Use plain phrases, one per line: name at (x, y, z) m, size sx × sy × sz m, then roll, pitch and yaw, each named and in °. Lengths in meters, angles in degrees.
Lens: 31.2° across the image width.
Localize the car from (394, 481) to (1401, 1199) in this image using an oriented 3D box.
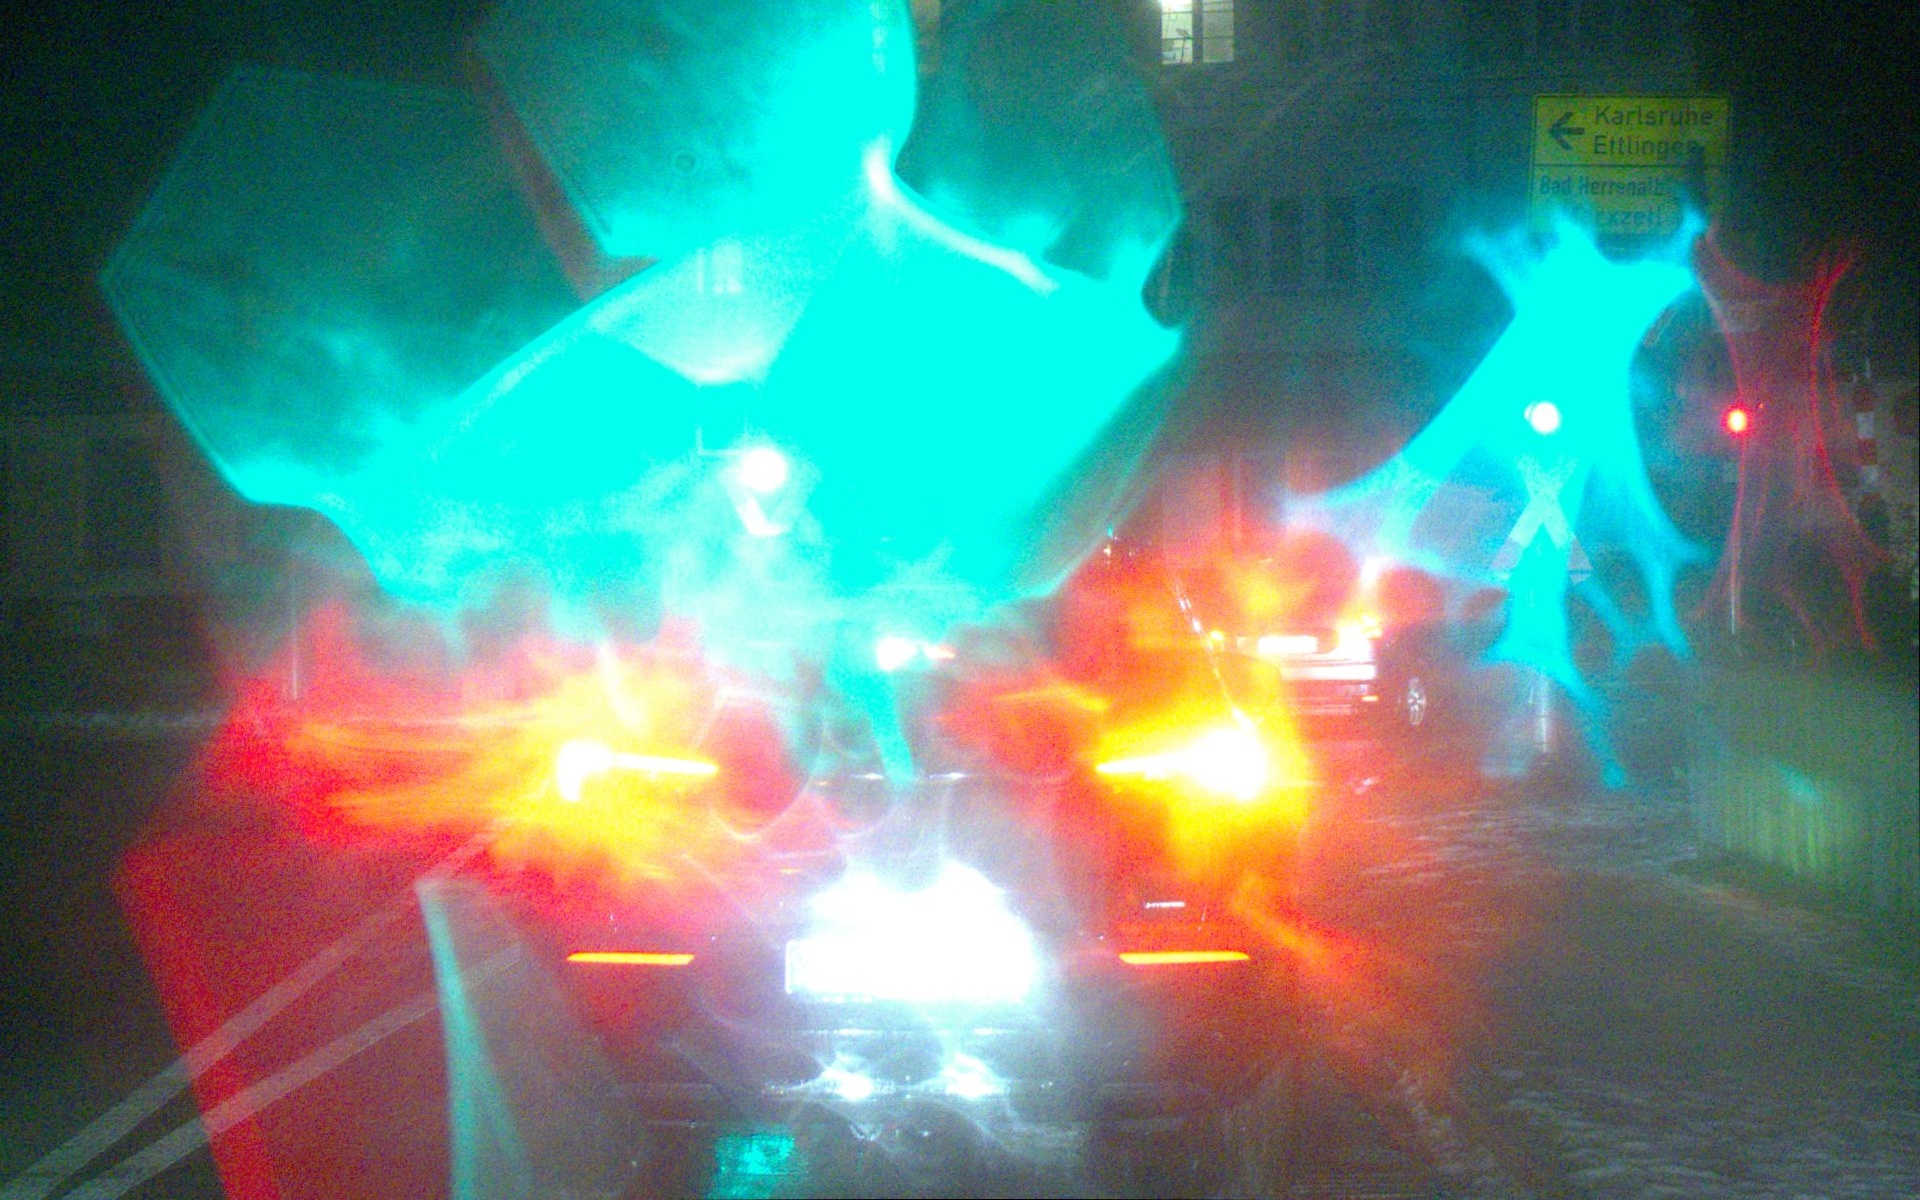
car at (-0.159, 0.596, 9.216) m, size 2.057 × 1.672 × 4.139 m, roll 1°, pitch 0°, yaw -1°

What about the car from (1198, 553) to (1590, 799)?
car at (3.986, 0.630, 30.972) m, size 1.774 × 1.940 × 4.247 m, roll 5°, pitch 2°, yaw 32°

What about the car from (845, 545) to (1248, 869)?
car at (0.466, 0.481, 18.665) m, size 1.909 × 1.505 × 4.241 m, roll 1°, pitch 1°, yaw 1°
